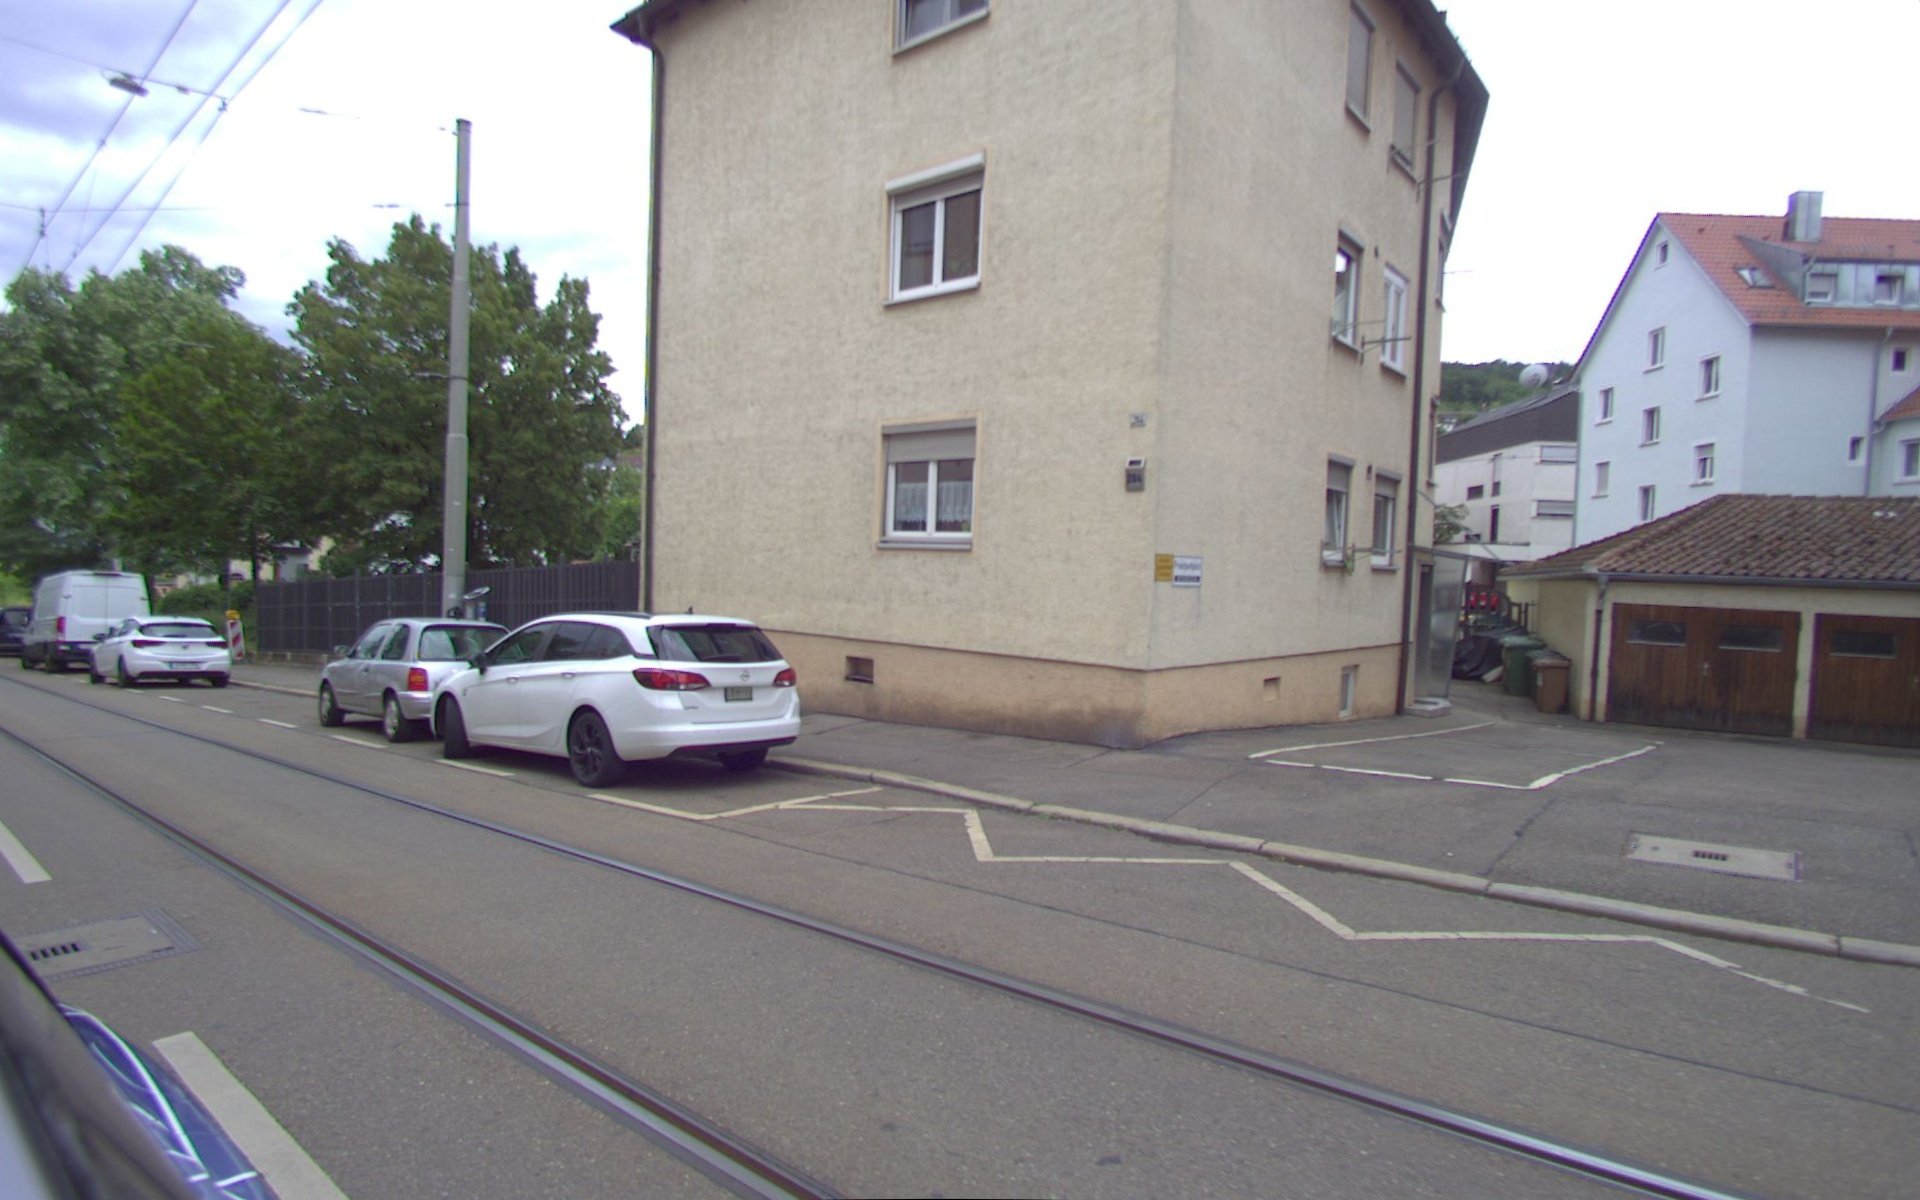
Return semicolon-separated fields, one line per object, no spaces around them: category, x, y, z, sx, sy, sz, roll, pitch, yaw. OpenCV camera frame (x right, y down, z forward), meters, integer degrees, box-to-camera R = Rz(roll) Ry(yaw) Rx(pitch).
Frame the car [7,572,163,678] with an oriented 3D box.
car;-24.150;0.723;27.832;6.213;2.627;2.137;-1;-4;39

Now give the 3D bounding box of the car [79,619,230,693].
car;-17.041;1.143;21.341;4.311;1.413;1.701;-1;-4;41

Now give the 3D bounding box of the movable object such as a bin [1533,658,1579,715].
movable object such as a bin;10.372;1.502;17.624;0.539;0.904;0.491;3;1;19

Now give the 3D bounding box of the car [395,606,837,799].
car;-3.468;0.855;9.755;4.622;1.440;1.809;-1;-4;39

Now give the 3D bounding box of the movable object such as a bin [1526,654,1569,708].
movable object such as a bin;10.748;1.475;18.529;0.539;0.904;0.491;3;1;19

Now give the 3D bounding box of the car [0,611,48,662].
car;-35.288;1.321;37.471;4.667;1.789;1.743;-1;-4;42

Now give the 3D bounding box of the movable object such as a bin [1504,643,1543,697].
movable object such as a bin;11.134;1.373;20.008;0.539;0.982;0.491;3;1;19

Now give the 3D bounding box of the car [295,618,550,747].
car;-6.871;0.971;12.780;3.806;1.379;1.583;-2;-4;42

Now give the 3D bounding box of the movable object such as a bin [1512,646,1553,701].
movable object such as a bin;10.943;1.402;19.360;0.539;0.982;0.491;3;1;19
